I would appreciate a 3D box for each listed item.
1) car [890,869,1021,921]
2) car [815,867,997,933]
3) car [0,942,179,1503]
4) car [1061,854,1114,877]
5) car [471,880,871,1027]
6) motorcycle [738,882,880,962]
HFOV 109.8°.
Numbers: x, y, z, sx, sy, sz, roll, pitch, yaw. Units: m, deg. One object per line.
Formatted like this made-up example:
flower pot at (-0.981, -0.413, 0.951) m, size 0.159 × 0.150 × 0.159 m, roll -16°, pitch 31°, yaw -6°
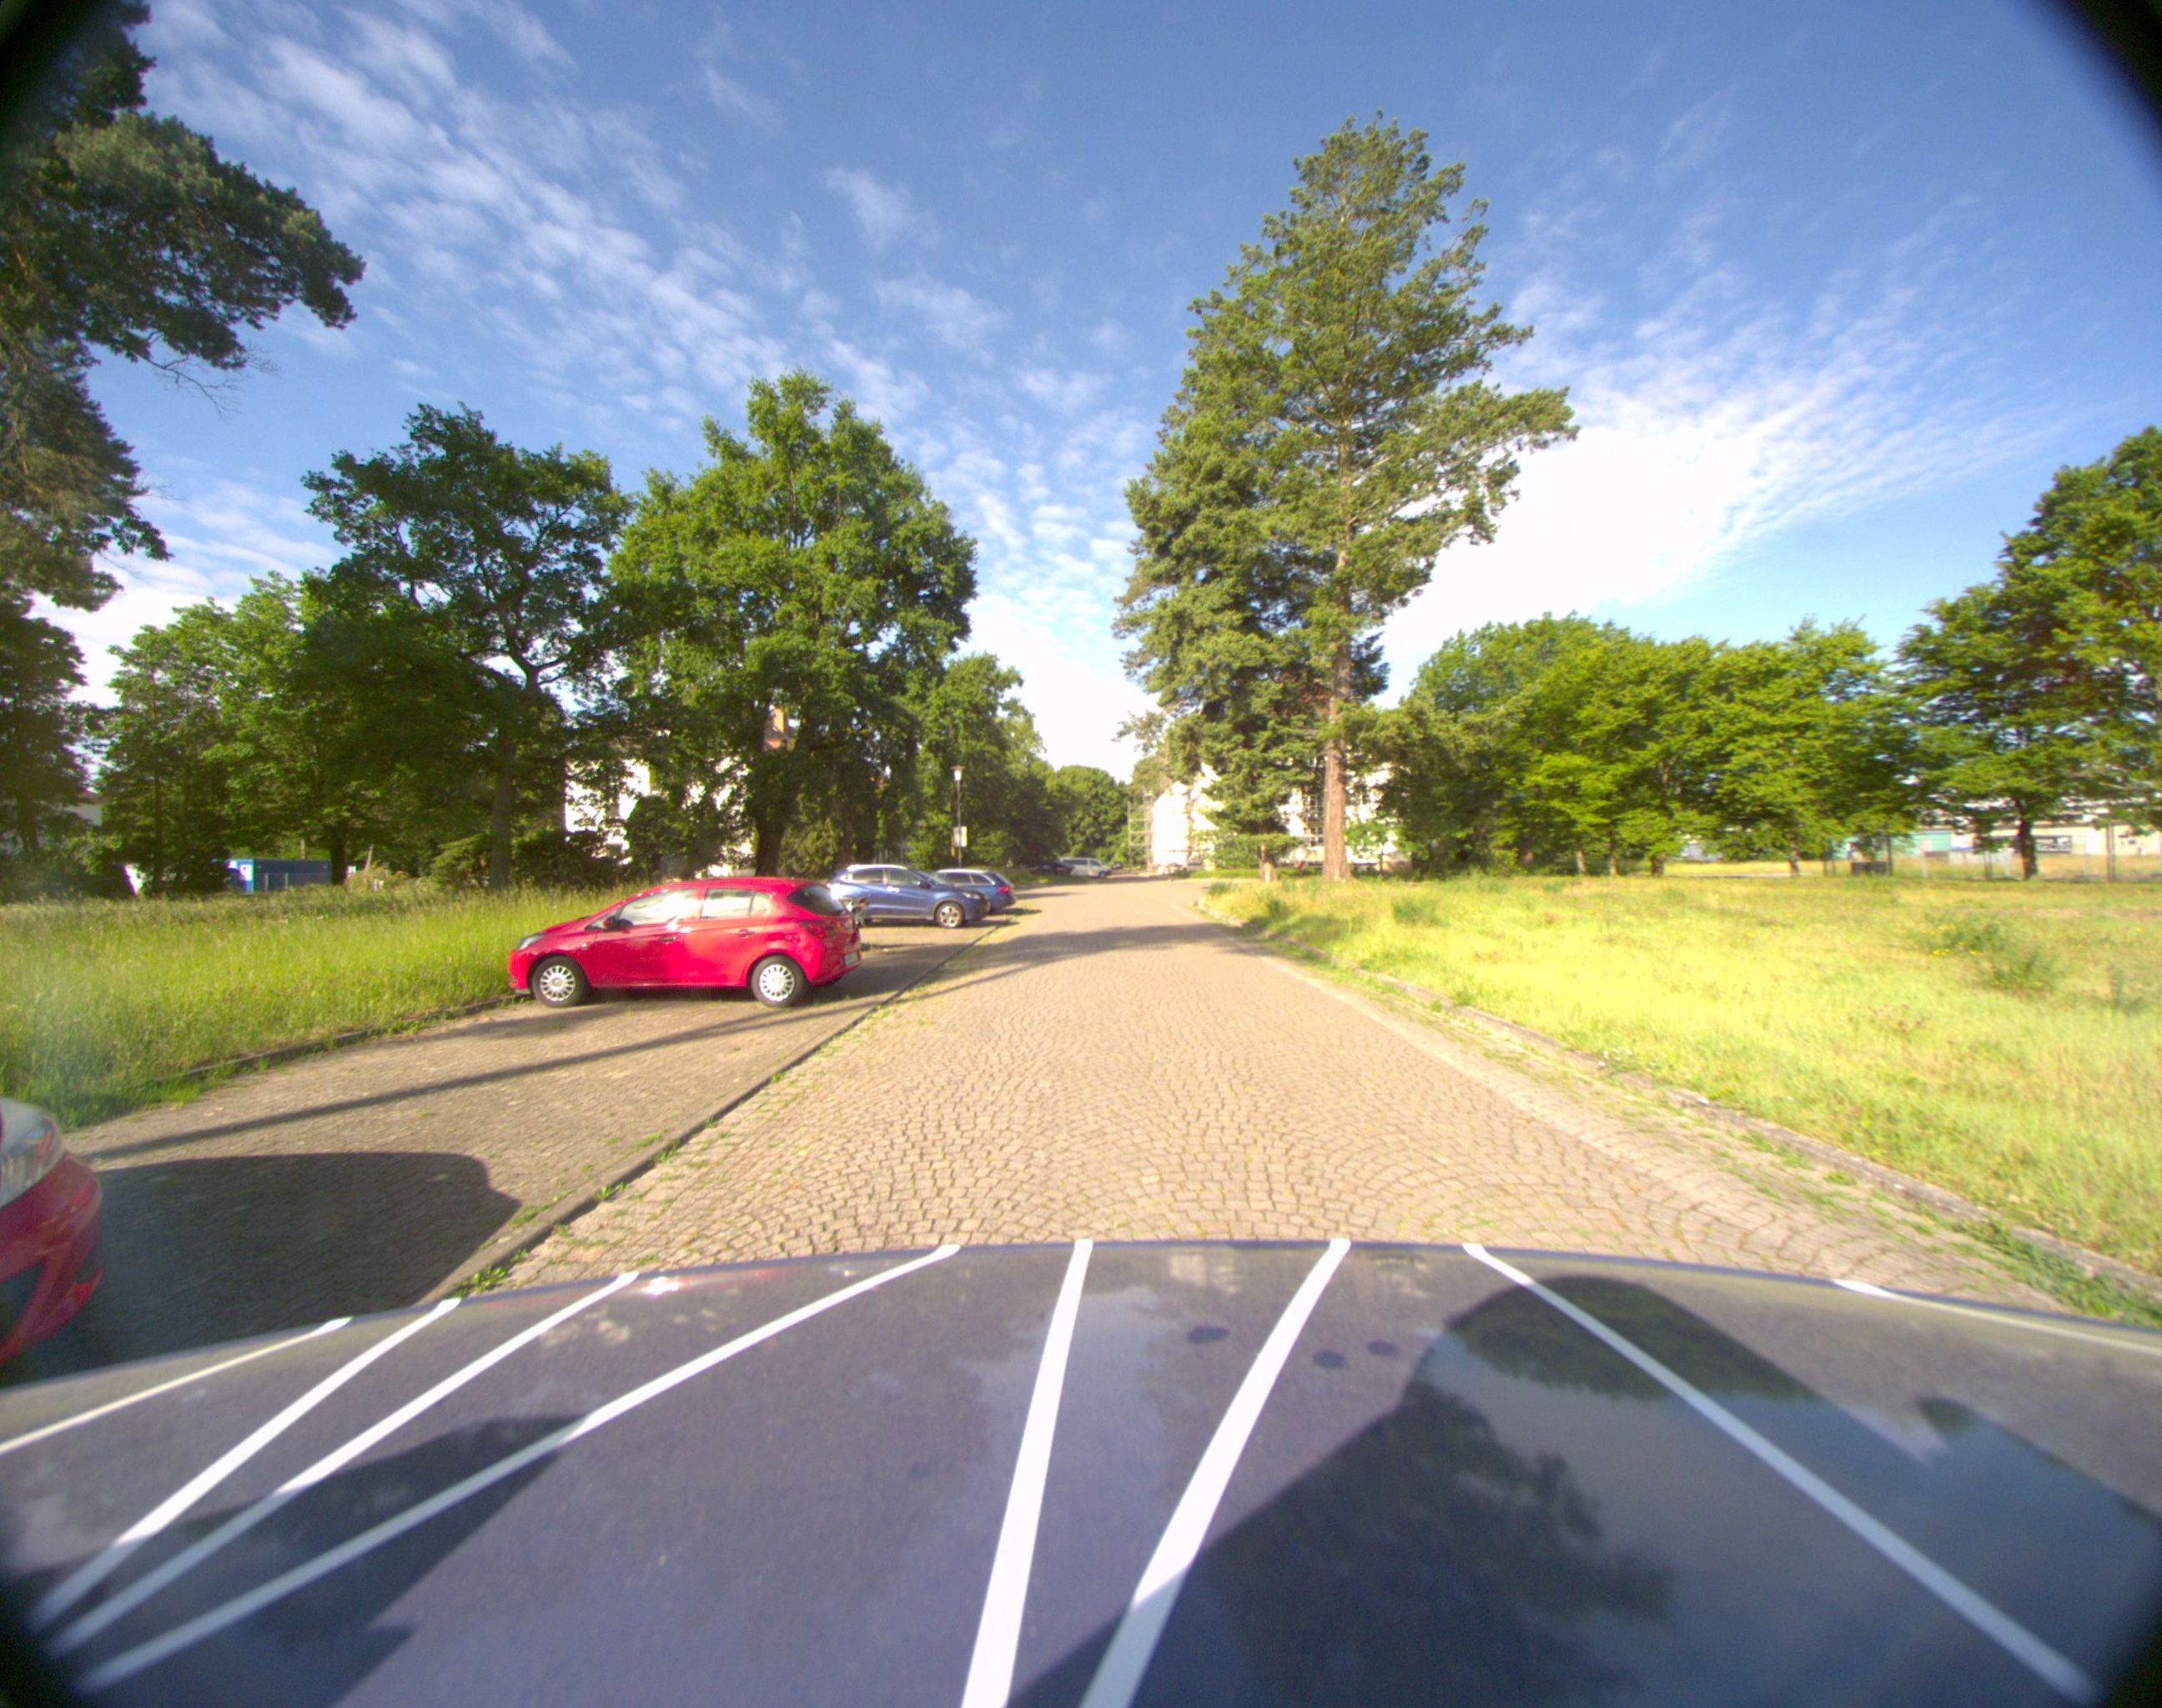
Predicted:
car at (-3.945, 1.285, 24.273) m, size 3.809 × 1.457 × 1.747 m, roll -2°, pitch 0°, yaw 2°
car at (-4.411, 1.143, 19.542) m, size 4.273 × 1.589 × 1.651 m, roll 0°, pitch 0°, yaw 1°
car at (-4.972, 1.068, 1.740) m, size 3.834 × 1.529 × 1.703 m, roll 0°, pitch 0°, yaw 1°
car at (0.596, 1.082, 73.041) m, size 4.993 × 2.123 × 2.165 m, roll -1°, pitch 0°, yaw -1°
car at (-4.802, 1.138, 9.258) m, size 3.997 × 1.486 × 1.540 m, roll -2°, pitch 0°, yaw 1°
motorcycle at (-4.938, 1.221, 13.896) m, size 2.235 × 1.345 × 0.879 m, roll -1°, pitch 0°, yaw 3°
